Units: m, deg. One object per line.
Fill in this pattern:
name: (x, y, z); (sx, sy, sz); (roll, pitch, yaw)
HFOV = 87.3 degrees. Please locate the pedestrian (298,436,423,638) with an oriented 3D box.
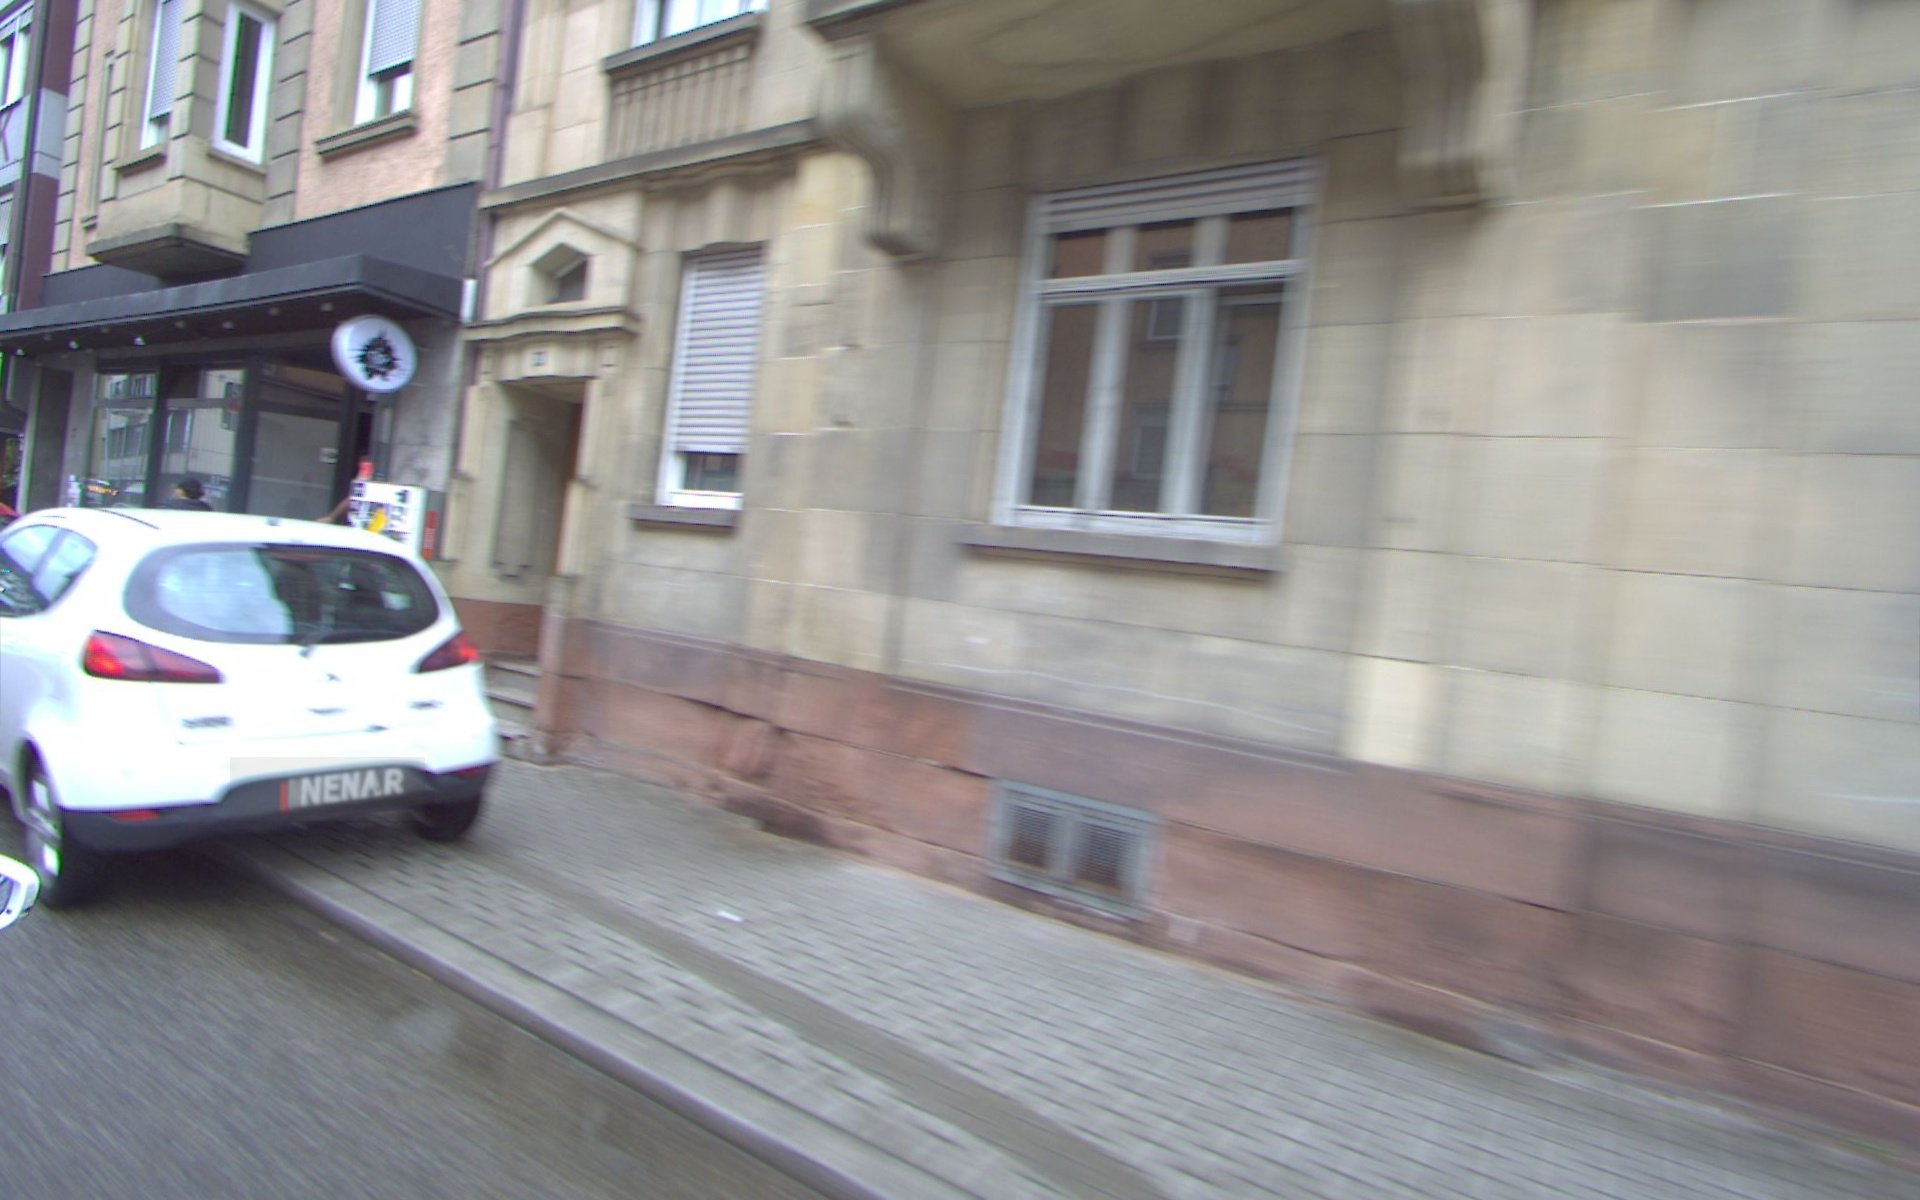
pedestrian: (-6.005, -0.615, 10.086); (0.638, 1.917, 0.704); (6, 0, 30)

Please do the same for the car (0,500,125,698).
car: (-8.757, -0.217, 8.184); (4.244, 1.386, 1.745); (7, 0, 33)

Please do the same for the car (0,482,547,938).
car: (-4.237, 0.262, 5.325); (4.379, 1.512, 1.647); (6, 0, 36)

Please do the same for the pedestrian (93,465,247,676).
pedestrian: (-7.187, -0.256, 9.167); (0.782, 1.801, 0.745); (6, 0, 30)
